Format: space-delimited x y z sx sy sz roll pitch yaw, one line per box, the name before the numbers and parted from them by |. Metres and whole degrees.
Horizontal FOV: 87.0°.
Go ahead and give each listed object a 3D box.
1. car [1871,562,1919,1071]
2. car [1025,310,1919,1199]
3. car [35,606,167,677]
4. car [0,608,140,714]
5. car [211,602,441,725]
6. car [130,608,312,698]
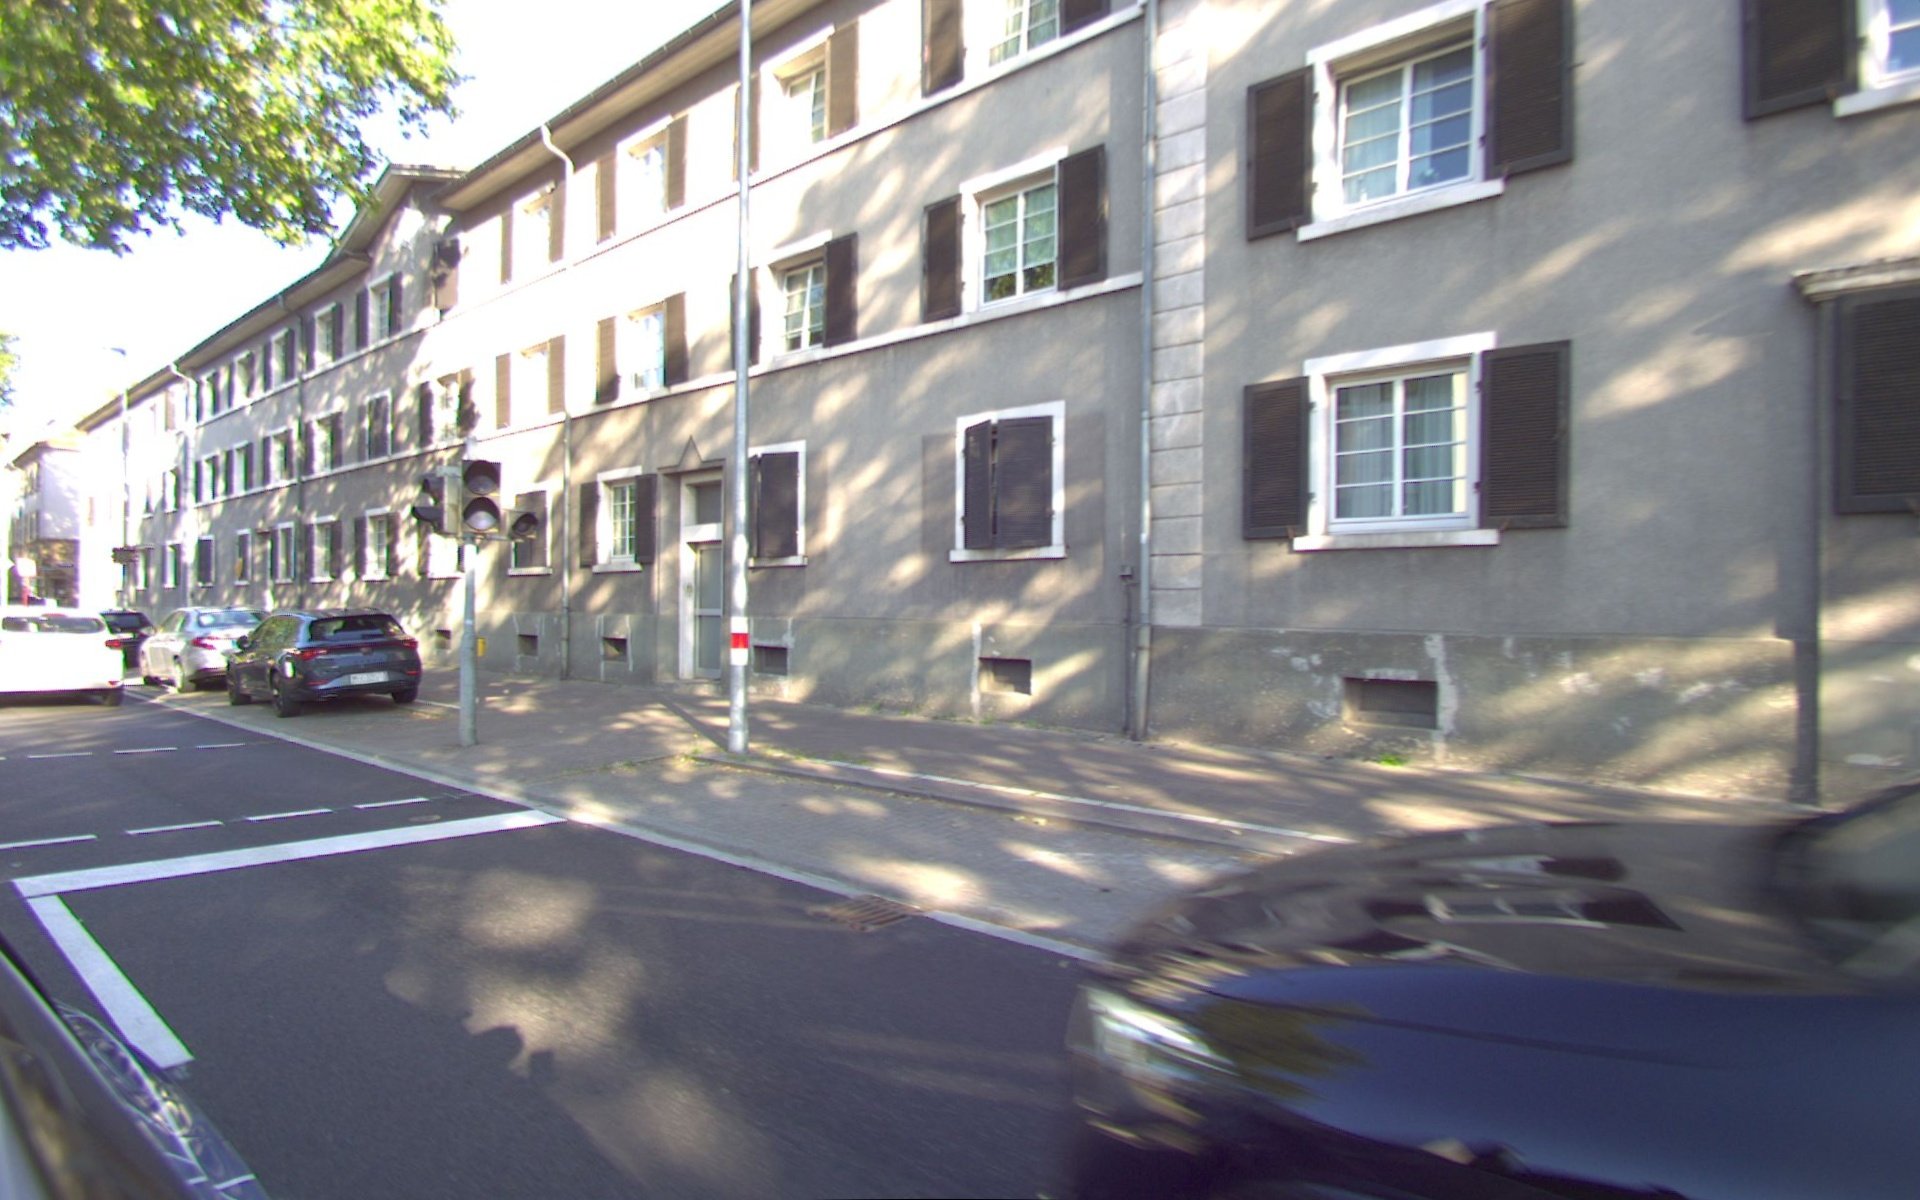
car | 4.902 0.622 2.338 4.049 1.518 1.689 0 1 39
car | 2.228 0.603 0.679 4.066 1.602 1.877 0 -2 40
car | -21.683 0.980 25.503 4.082 1.624 1.847 0 0 39
car | -14.735 0.896 16.106 4.083 1.495 1.846 0 -3 40
car | -9.498 0.827 15.041 4.086 1.494 1.845 0 2 43
car | -13.960 0.909 19.044 4.083 1.495 1.846 0 -1 40
